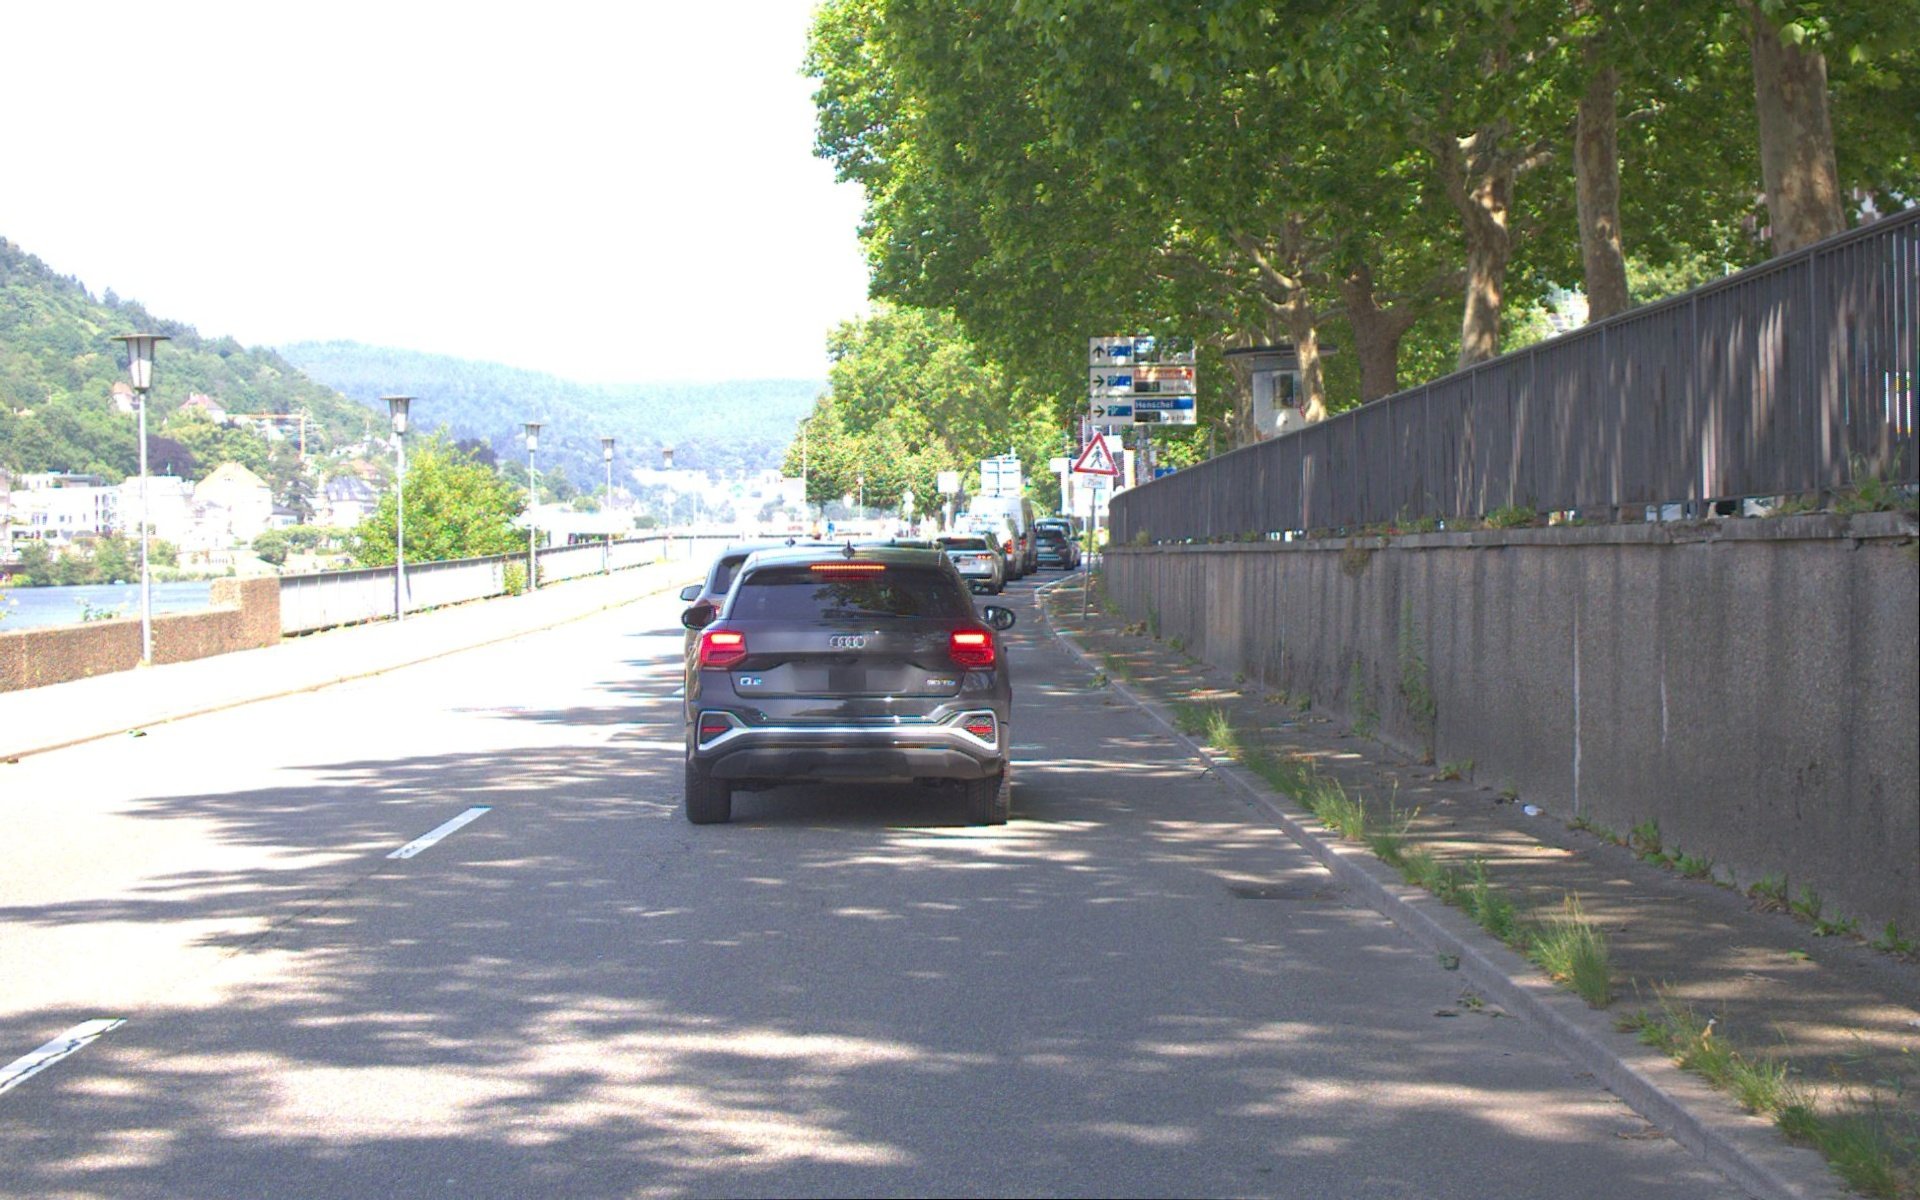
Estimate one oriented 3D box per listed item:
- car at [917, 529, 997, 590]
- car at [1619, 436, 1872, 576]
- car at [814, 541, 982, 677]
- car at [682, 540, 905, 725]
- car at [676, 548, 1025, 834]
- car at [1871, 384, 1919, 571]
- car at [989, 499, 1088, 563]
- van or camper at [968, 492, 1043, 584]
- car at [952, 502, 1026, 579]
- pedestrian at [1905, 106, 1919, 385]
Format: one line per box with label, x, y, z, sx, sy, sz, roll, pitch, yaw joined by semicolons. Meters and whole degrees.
car;-0.096;-0.984;82.286;1.828;1.439;4.000;0;1;-1
car;8.818;-1.033;38.382;1.777;1.464;3.994;1;1;28
car;-0.718;0.064;39.555;1.828;1.481;4.000;0;1;-1
car;-1.407;0.233;30.220;1.828;1.506;4.000;0;1;-1
car;-0.614;0.452;20.068;1.828;1.481;4.000;0;1;-1
car;8.911;-1.009;29.124;1.651;1.495;3.813;0;1;25
car;2.716;-2.402;120.137;3.098;2.007;5.825;-3;1;-1
van or camper;1.468;-1.985;110.069;2.310;2.837;4.246;-1;1;1
car;0.832;-1.754;101.340;1.993;2.162;4.000;-1;1;-1
pedestrian;4.261;-1.157;13.070;0.936;1.574;1.028;-3;1;-2
